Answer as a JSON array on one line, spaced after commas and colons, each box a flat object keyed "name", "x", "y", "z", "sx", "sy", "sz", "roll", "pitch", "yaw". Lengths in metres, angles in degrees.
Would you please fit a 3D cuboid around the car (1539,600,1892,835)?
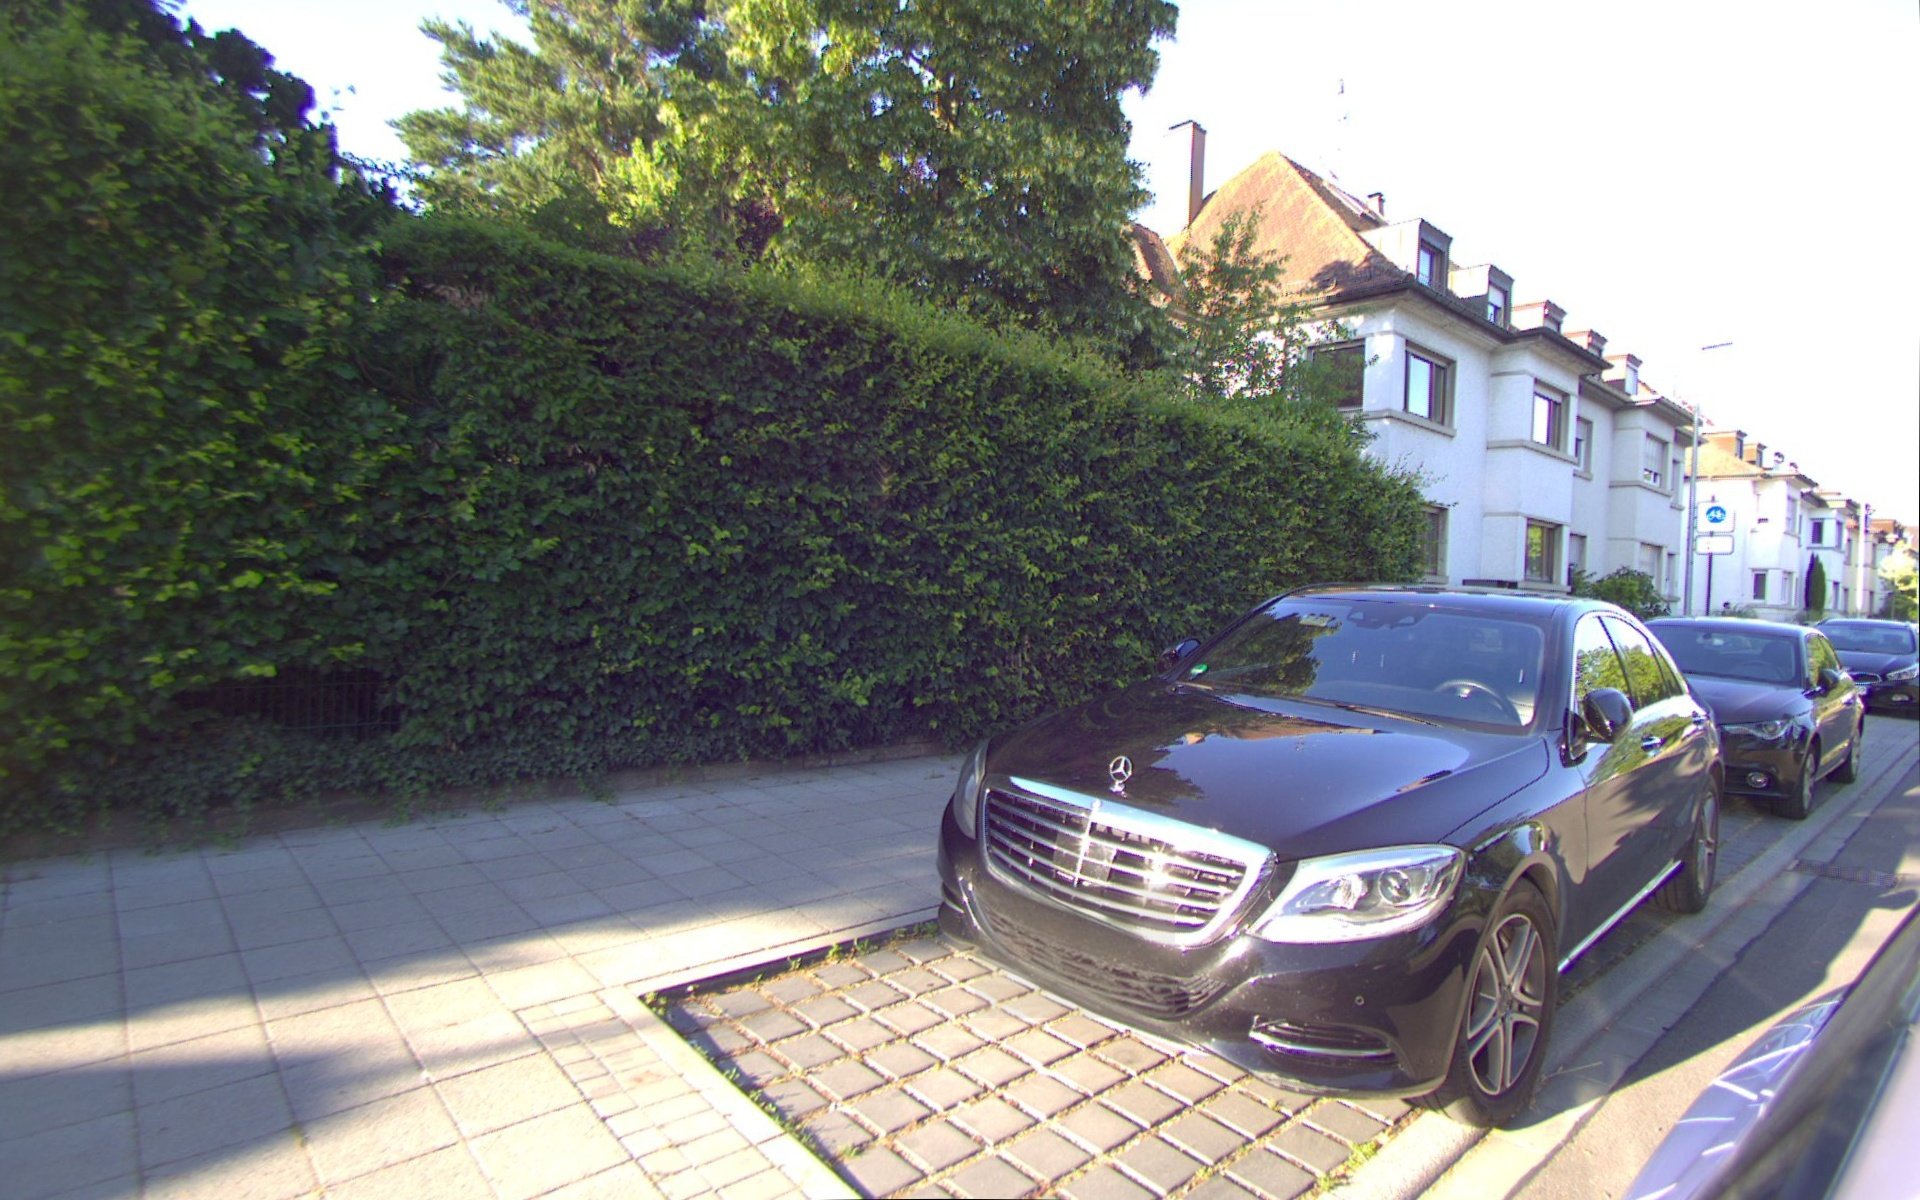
[{"name": "car", "x": 6.531, "y": 0.797, "z": 8.586, "sx": 3.869, "sy": 1.445, "sz": 1.644, "roll": 1, "pitch": 3, "yaw": -43}]

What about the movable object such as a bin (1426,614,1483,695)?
[{"name": "movable object such as a bin", "x": 6.775, "y": 0.724, "z": 13.863, "sx": 0.507, "sy": 1.056, "sz": 0.649, "roll": 2, "pitch": 1, "yaw": 42}]

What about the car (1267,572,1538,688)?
[{"name": "car", "x": 7.173, "y": 0.406, "z": 16.619, "sx": 3.637, "sy": 1.514, "sz": 1.752, "roll": 6, "pitch": 3, "yaw": 45}]

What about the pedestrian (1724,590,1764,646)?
[{"name": "pedestrian", "x": 30.027, "y": 0.677, "z": 38.768, "sx": 1.081, "sy": 2.039, "sz": 0.856, "roll": 2, "pitch": 1, "yaw": 33}]

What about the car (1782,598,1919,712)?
[{"name": "car", "x": 14.896, "y": 0.822, "z": 16.424, "sx": 4.183, "sy": 1.492, "sz": 1.750, "roll": 1, "pitch": 5, "yaw": -43}]

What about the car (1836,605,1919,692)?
[{"name": "car", "x": 18.748, "y": 0.924, "z": 19.976, "sx": 3.916, "sy": 1.489, "sz": 1.721, "roll": 1, "pitch": 4, "yaw": -43}]

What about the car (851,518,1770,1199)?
[{"name": "car", "x": 1.999, "y": 0.588, "z": 4.480, "sx": 4.792, "sy": 1.561, "sz": 1.861, "roll": 1, "pitch": 2, "yaw": -44}]
